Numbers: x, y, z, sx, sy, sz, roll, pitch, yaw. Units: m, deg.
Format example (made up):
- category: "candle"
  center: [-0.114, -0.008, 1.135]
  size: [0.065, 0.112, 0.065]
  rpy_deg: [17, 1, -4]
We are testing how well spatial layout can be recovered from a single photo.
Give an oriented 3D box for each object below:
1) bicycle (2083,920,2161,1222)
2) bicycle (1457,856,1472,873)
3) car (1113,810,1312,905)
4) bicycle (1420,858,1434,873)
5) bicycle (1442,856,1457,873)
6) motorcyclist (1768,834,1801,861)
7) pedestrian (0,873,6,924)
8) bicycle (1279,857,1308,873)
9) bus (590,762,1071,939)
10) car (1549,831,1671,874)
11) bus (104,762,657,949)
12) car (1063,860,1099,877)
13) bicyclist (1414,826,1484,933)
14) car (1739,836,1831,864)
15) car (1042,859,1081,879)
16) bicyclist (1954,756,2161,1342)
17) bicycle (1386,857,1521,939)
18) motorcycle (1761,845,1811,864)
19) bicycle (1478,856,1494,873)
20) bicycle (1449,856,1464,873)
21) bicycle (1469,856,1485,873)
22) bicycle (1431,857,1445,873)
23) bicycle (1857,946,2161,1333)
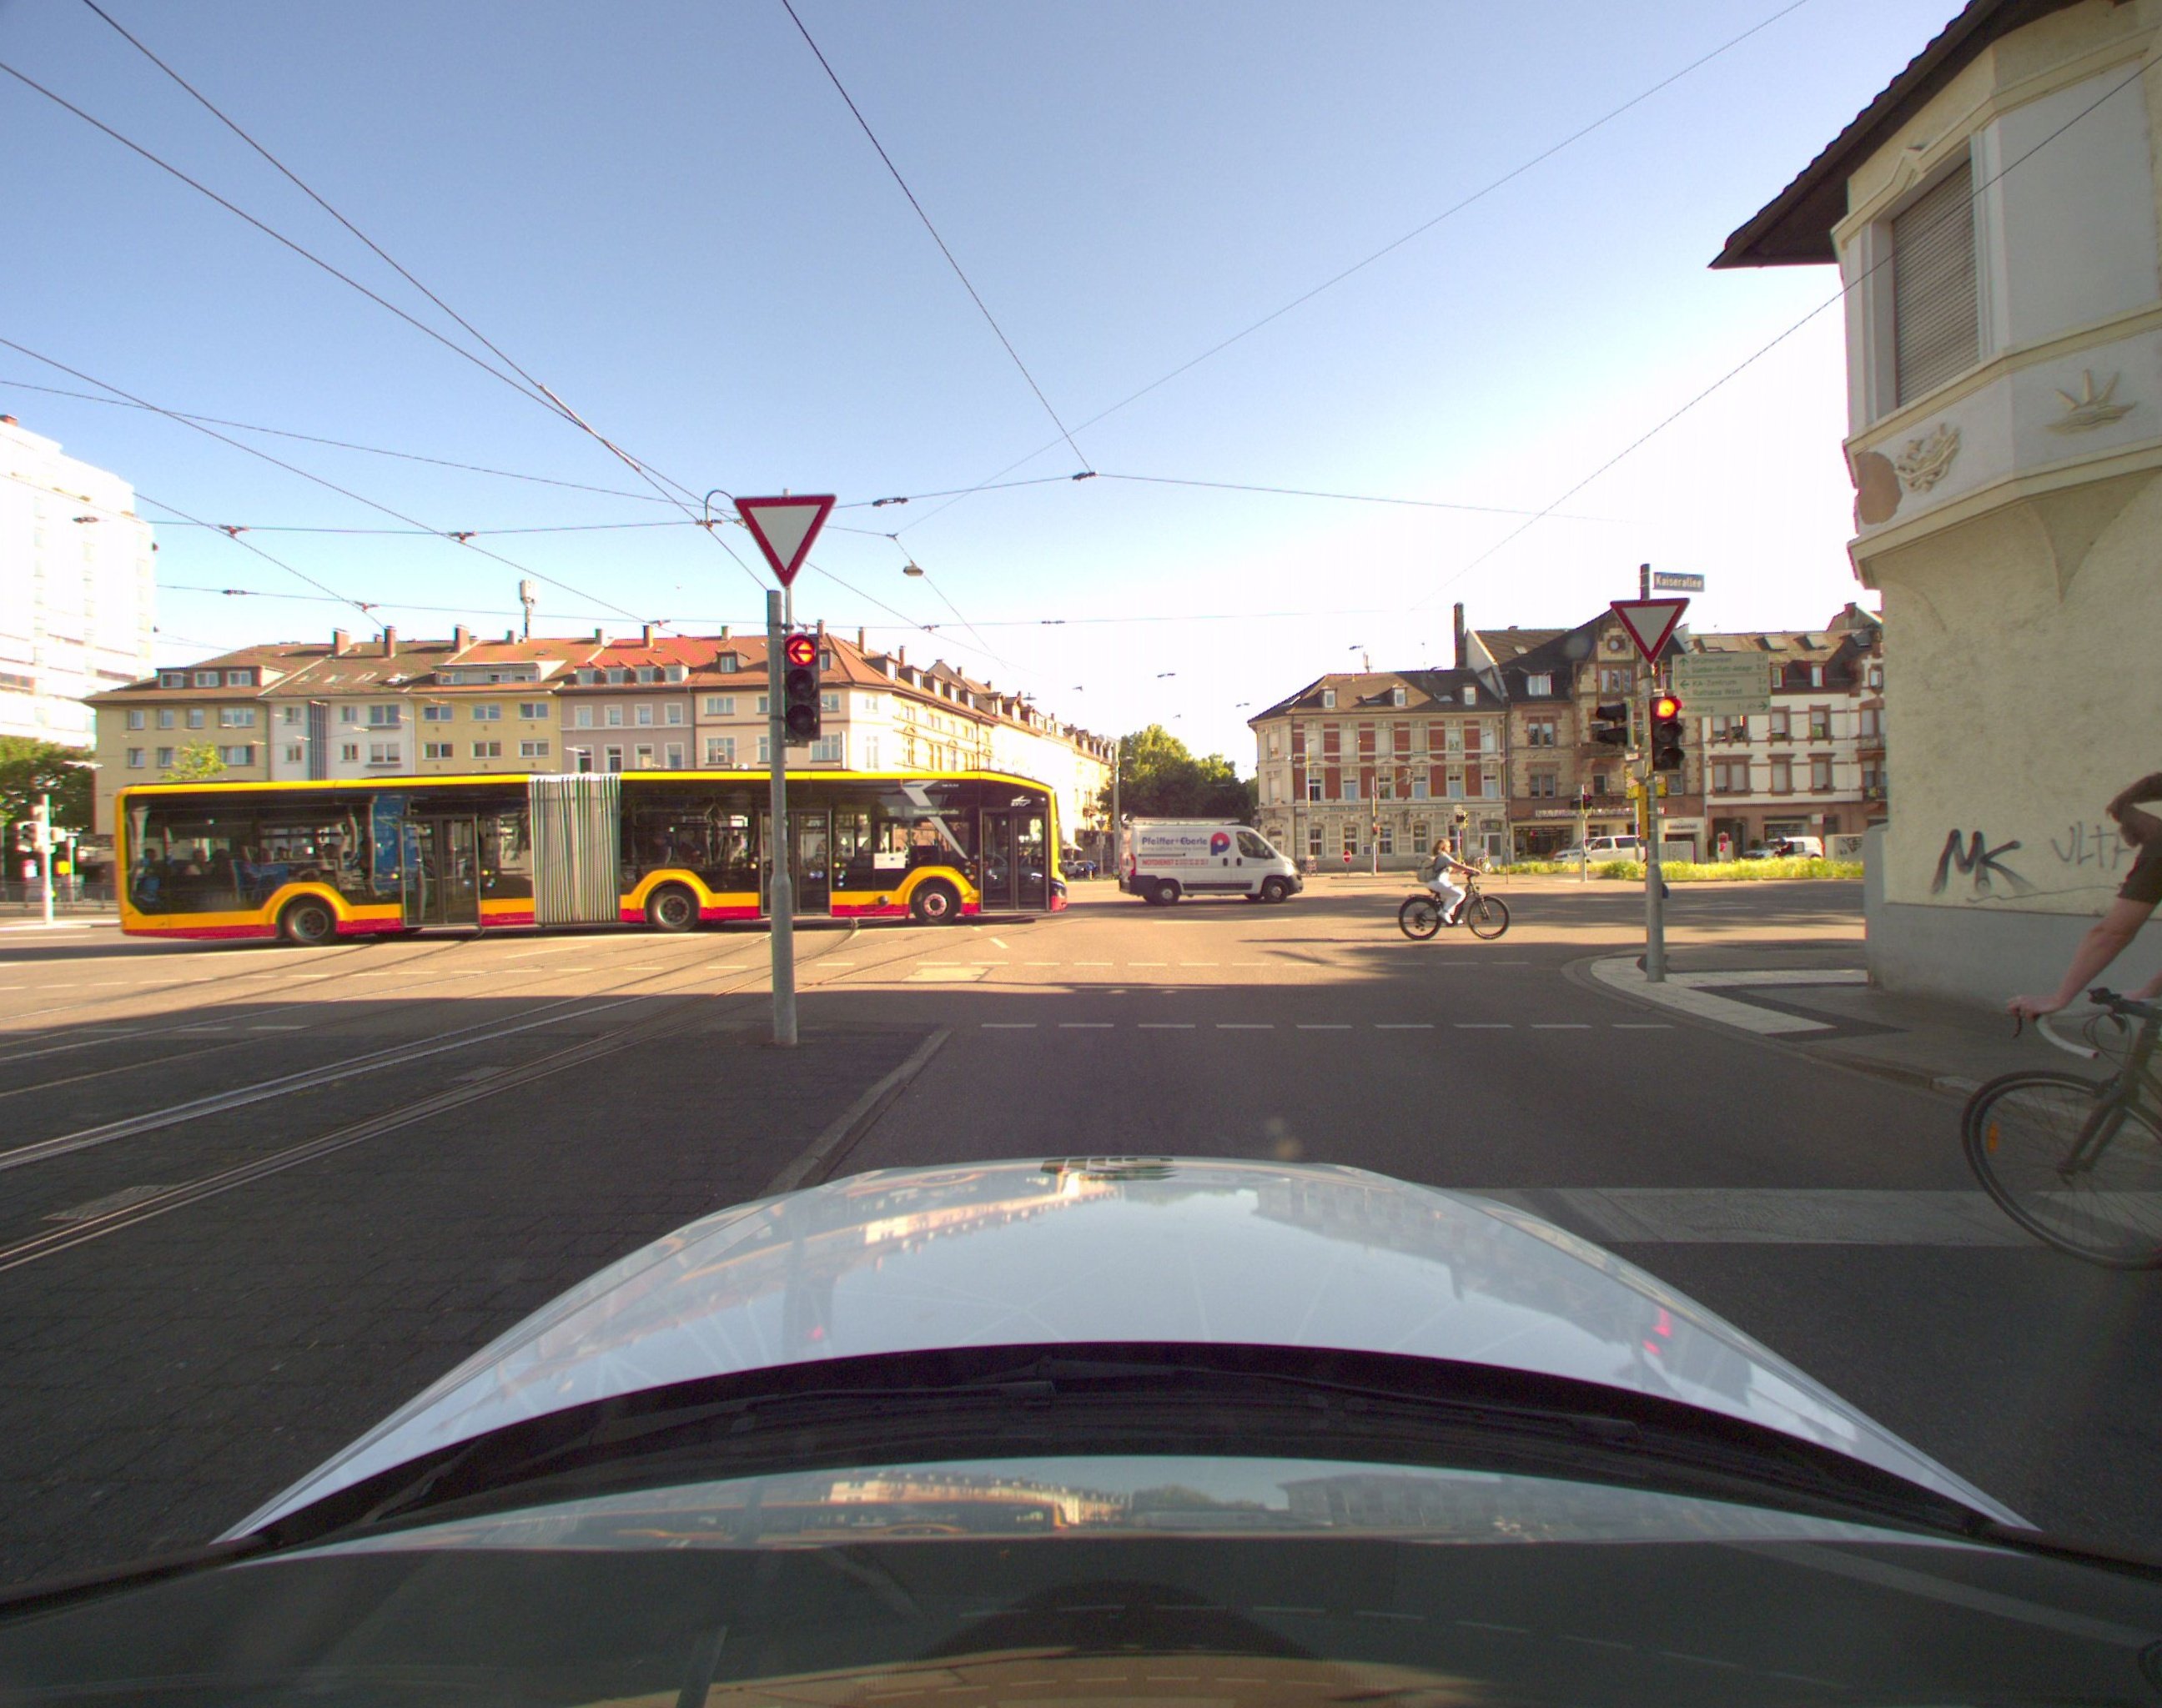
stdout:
- category: "bicycle"
  center: [4.511, 0.864, 2.497]
  size: [0.568, 1.165, 1.890]
  rpy_deg: [-1, 0, 2]
- category: "bicycle"
  center: [24.822, 0.674, 52.725]
  size: [0.483, 1.020, 1.789]
  rpy_deg: [-1, 0, 12]
- category: "car"
  center: [3.575, 0.093, 22.723]
  size: [5.104, 2.432, 2.077]
  rpy_deg: [-1, -1, -6]
- category: "bicycle"
  center: [22.487, 0.729, 52.988]
  size: [0.483, 0.914, 1.789]
  rpy_deg: [-1, 0, 12]
- category: "bicycle"
  center: [23.859, 0.681, 52.766]
  size: [0.483, 1.020, 1.789]
  rpy_deg: [-1, 0, 12]
- category: "motorcyclist"
  center: [35.962, -0.341, 41.645]
  size: [0.999, 1.355, 0.744]
  rpy_deg: [-1, 0, 1]
- category: "pedestrian"
  center: [-34.927, 1.440, 25.742]
  size: [0.770, 1.611, 0.794]
  rpy_deg: [-1, 0, -5]
- category: "bicycle"
  center: [14.917, 0.747, 57.149]
  size: [1.940, 1.054, 0.717]
  rpy_deg: [-1, 0, 11]
- category: "bus"
  center: [-4.994, -0.116, 17.710]
  size: [9.397, 3.457, 2.775]
  rpy_deg: [0, 1, -6]
- category: "car"
  center: [27.129, -0.085, 41.904]
  size: [4.962, 2.013, 2.001]
  rpy_deg: [-1, 0, 1]
- category: "bus"
  center: [-13.907, -0.014, 16.868]
  size: [8.599, 3.457, 2.783]
  rpy_deg: [0, 1, -5]
- category: "car"
  center: [0.034, 1.305, 73.815]
  size: [1.977, 1.404, 4.189]
  rpy_deg: [-1, 0, 18]
- category: "bicyclist"
  center: [6.075, 0.412, 13.490]
  size: [0.796, 1.715, 0.734]
  rpy_deg: [-1, 0, 0]
- category: "car"
  center: [45.297, -0.246, 52.494]
  size: [4.239, 1.622, 1.999]
  rpy_deg: [-1, 0, -1]
- category: "car"
  center: [-1.586, 1.212, 67.678]
  size: [1.977, 1.516, 4.189]
  rpy_deg: [-1, 0, 18]
- category: "bicyclist"
  center: [3.566, 0.582, 2.509]
  size: [0.649, 1.767, 0.995]
  rpy_deg: [-1, 0, 2]
- category: "bicycle"
  center: [6.135, 0.717, 13.464]
  size: [1.934, 1.299, 0.623]
  rpy_deg: [-1, 0, 0]
- category: "motorcycle"
  center: [36.013, 0.021, 41.615]
  size: [2.033, 0.897, 0.562]
  rpy_deg: [-1, 0, 1]
- category: "bicycle"
  center: [26.338, 0.664, 52.928]
  size: [0.483, 1.020, 1.789]
  rpy_deg: [-1, 0, 12]
- category: "bicycle"
  center: [24.319, 0.678, 52.816]
  size: [0.483, 1.020, 1.789]
  rpy_deg: [-1, 0, 12]
- category: "bicycle"
  center: [25.633, 0.668, 52.773]
  size: [0.483, 1.020, 1.789]
  rpy_deg: [-1, 0, 12]
- category: "bicycle"
  center: [23.163, 0.719, 52.885]
  size: [0.483, 1.020, 1.789]
  rpy_deg: [-1, 0, 12]
- category: "bicycle"
  center: [3.568, 0.925, 2.511]
  size: [0.568, 1.058, 1.890]
  rpy_deg: [-1, 0, 2]
